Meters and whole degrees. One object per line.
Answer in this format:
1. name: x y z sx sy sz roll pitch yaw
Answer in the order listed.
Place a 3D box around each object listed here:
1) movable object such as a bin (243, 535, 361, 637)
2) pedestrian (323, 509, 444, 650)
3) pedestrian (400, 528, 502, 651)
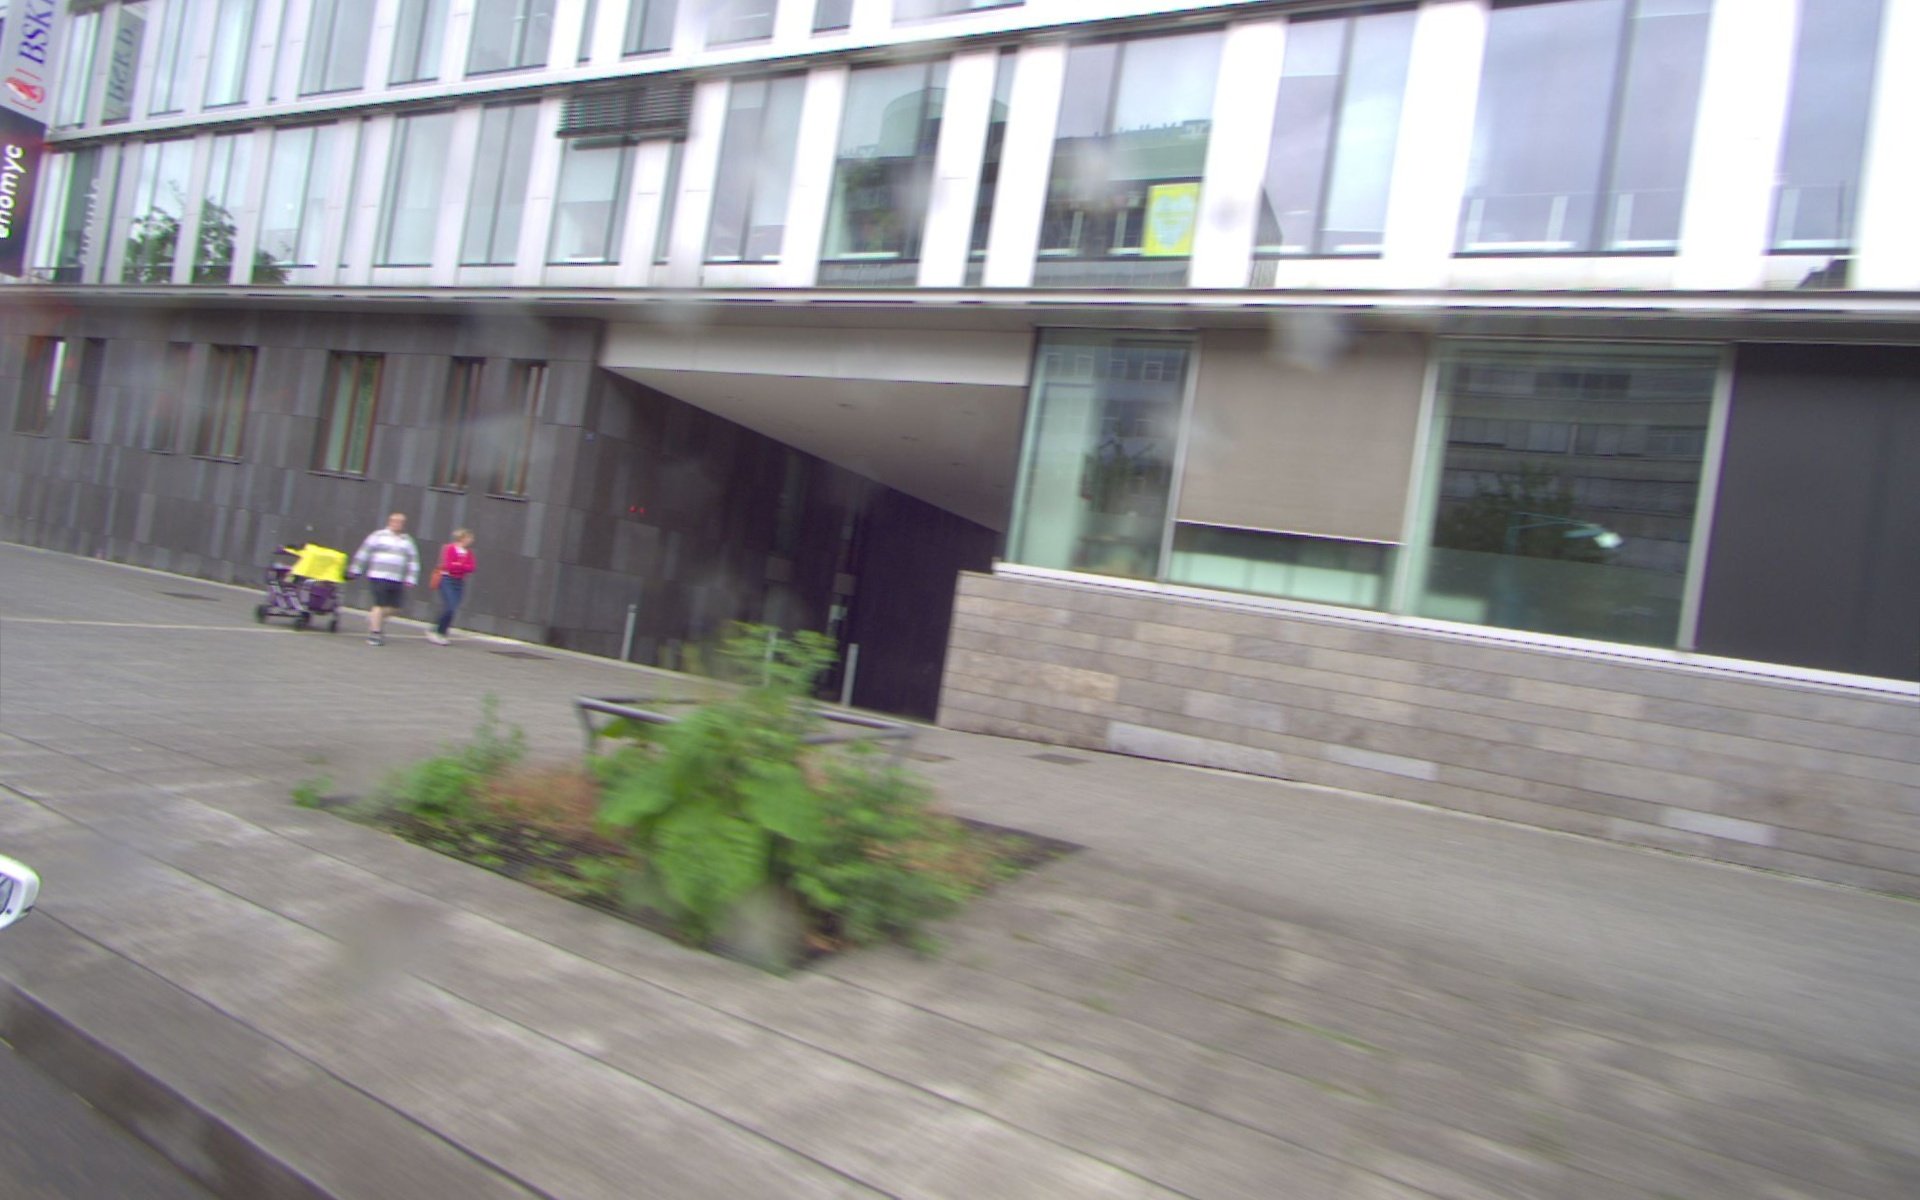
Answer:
1. movable object such as a bin: -9.556 -0.202 14.615 1.419 1.280 0.732 8 1 27
2. pedestrian: -8.091 -0.271 14.136 1.028 1.815 0.902 7 1 25
3. pedestrian: -7.672 -0.153 15.170 1.080 1.712 0.719 7 1 25
